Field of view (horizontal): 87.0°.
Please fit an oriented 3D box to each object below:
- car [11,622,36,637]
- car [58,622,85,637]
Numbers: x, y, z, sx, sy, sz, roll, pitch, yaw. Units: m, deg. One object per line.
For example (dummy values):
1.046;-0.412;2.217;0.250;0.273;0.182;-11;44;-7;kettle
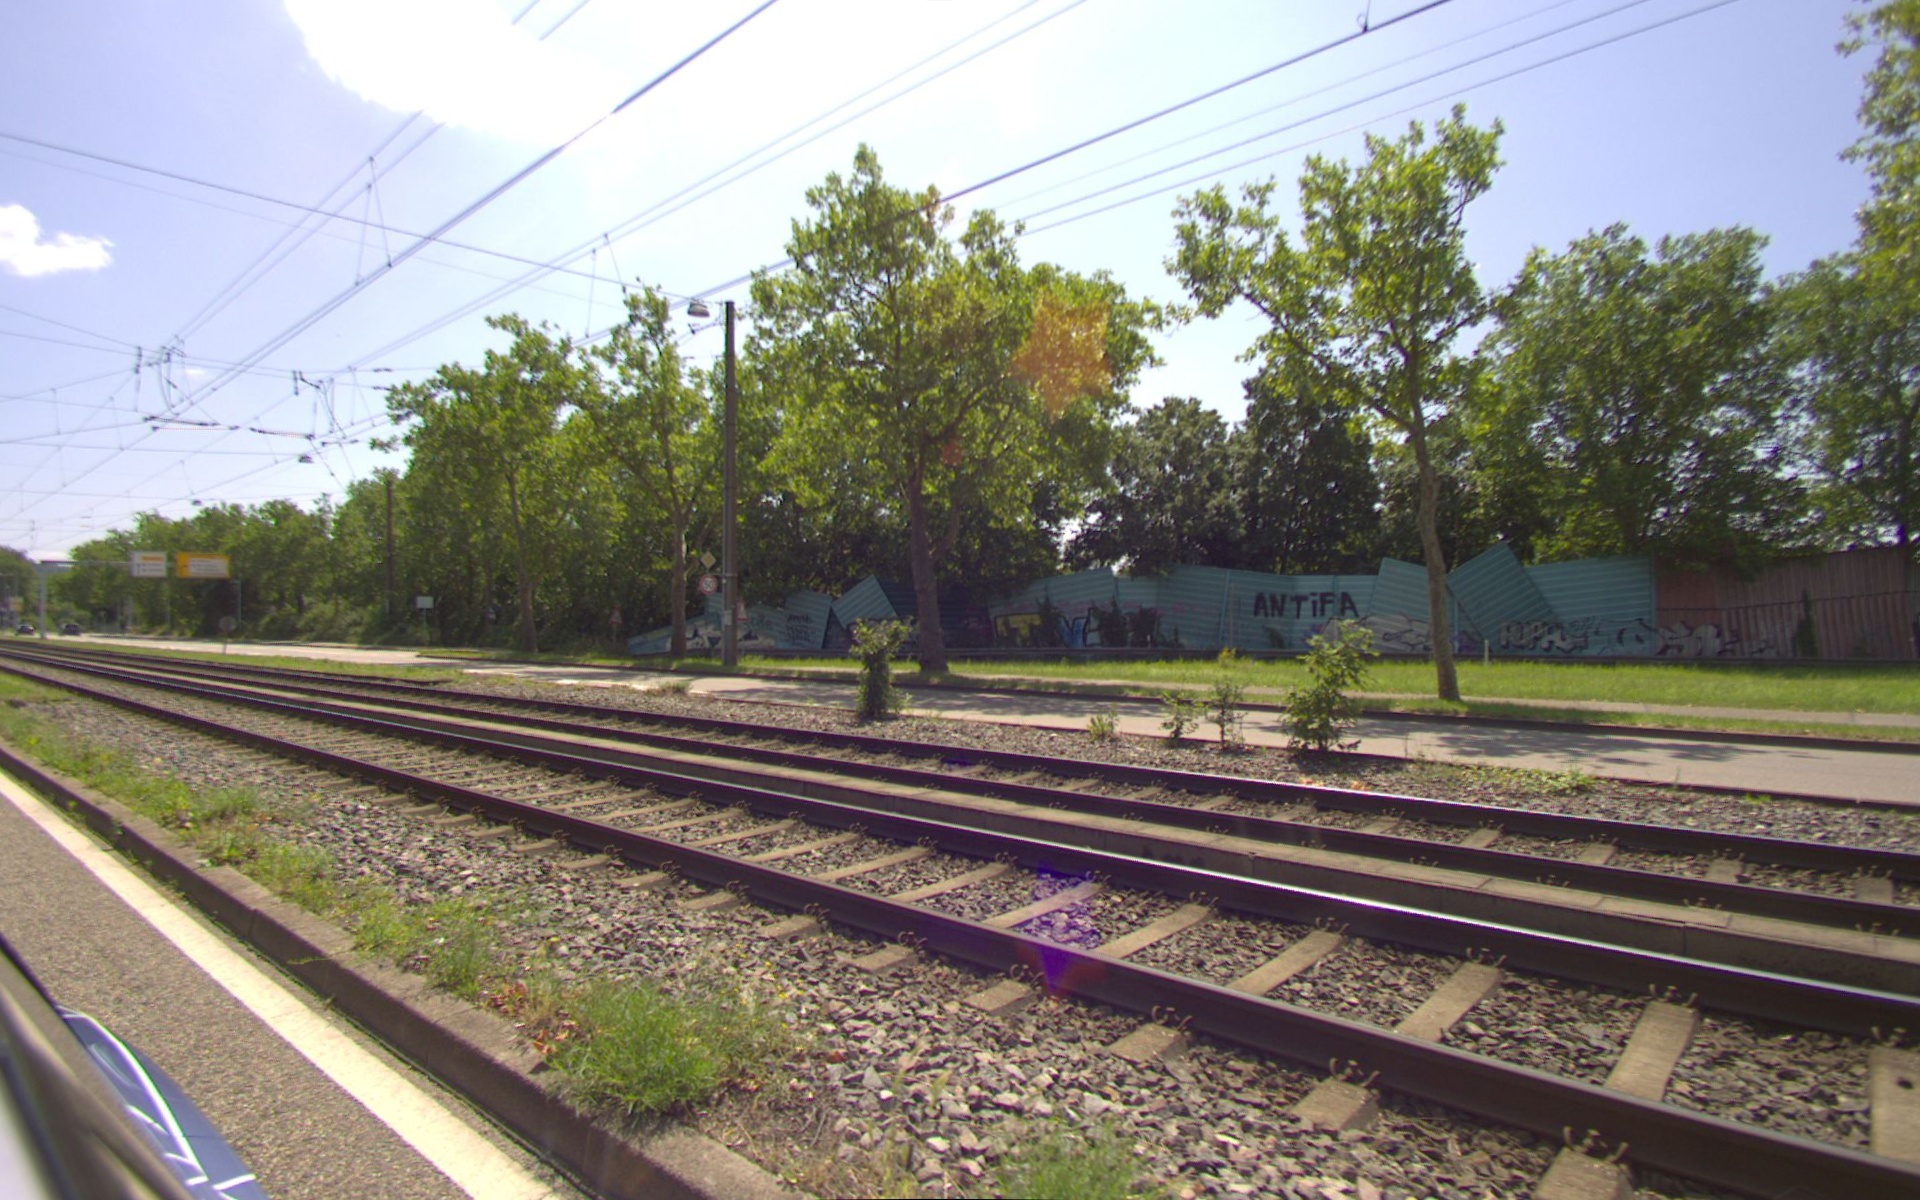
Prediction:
-121.386;3.770;131.215;3.998;1.807;1.973;-1;0;41;car
-111.441;3.696;126.933;3.998;1.807;1.973;-1;0;41;car
